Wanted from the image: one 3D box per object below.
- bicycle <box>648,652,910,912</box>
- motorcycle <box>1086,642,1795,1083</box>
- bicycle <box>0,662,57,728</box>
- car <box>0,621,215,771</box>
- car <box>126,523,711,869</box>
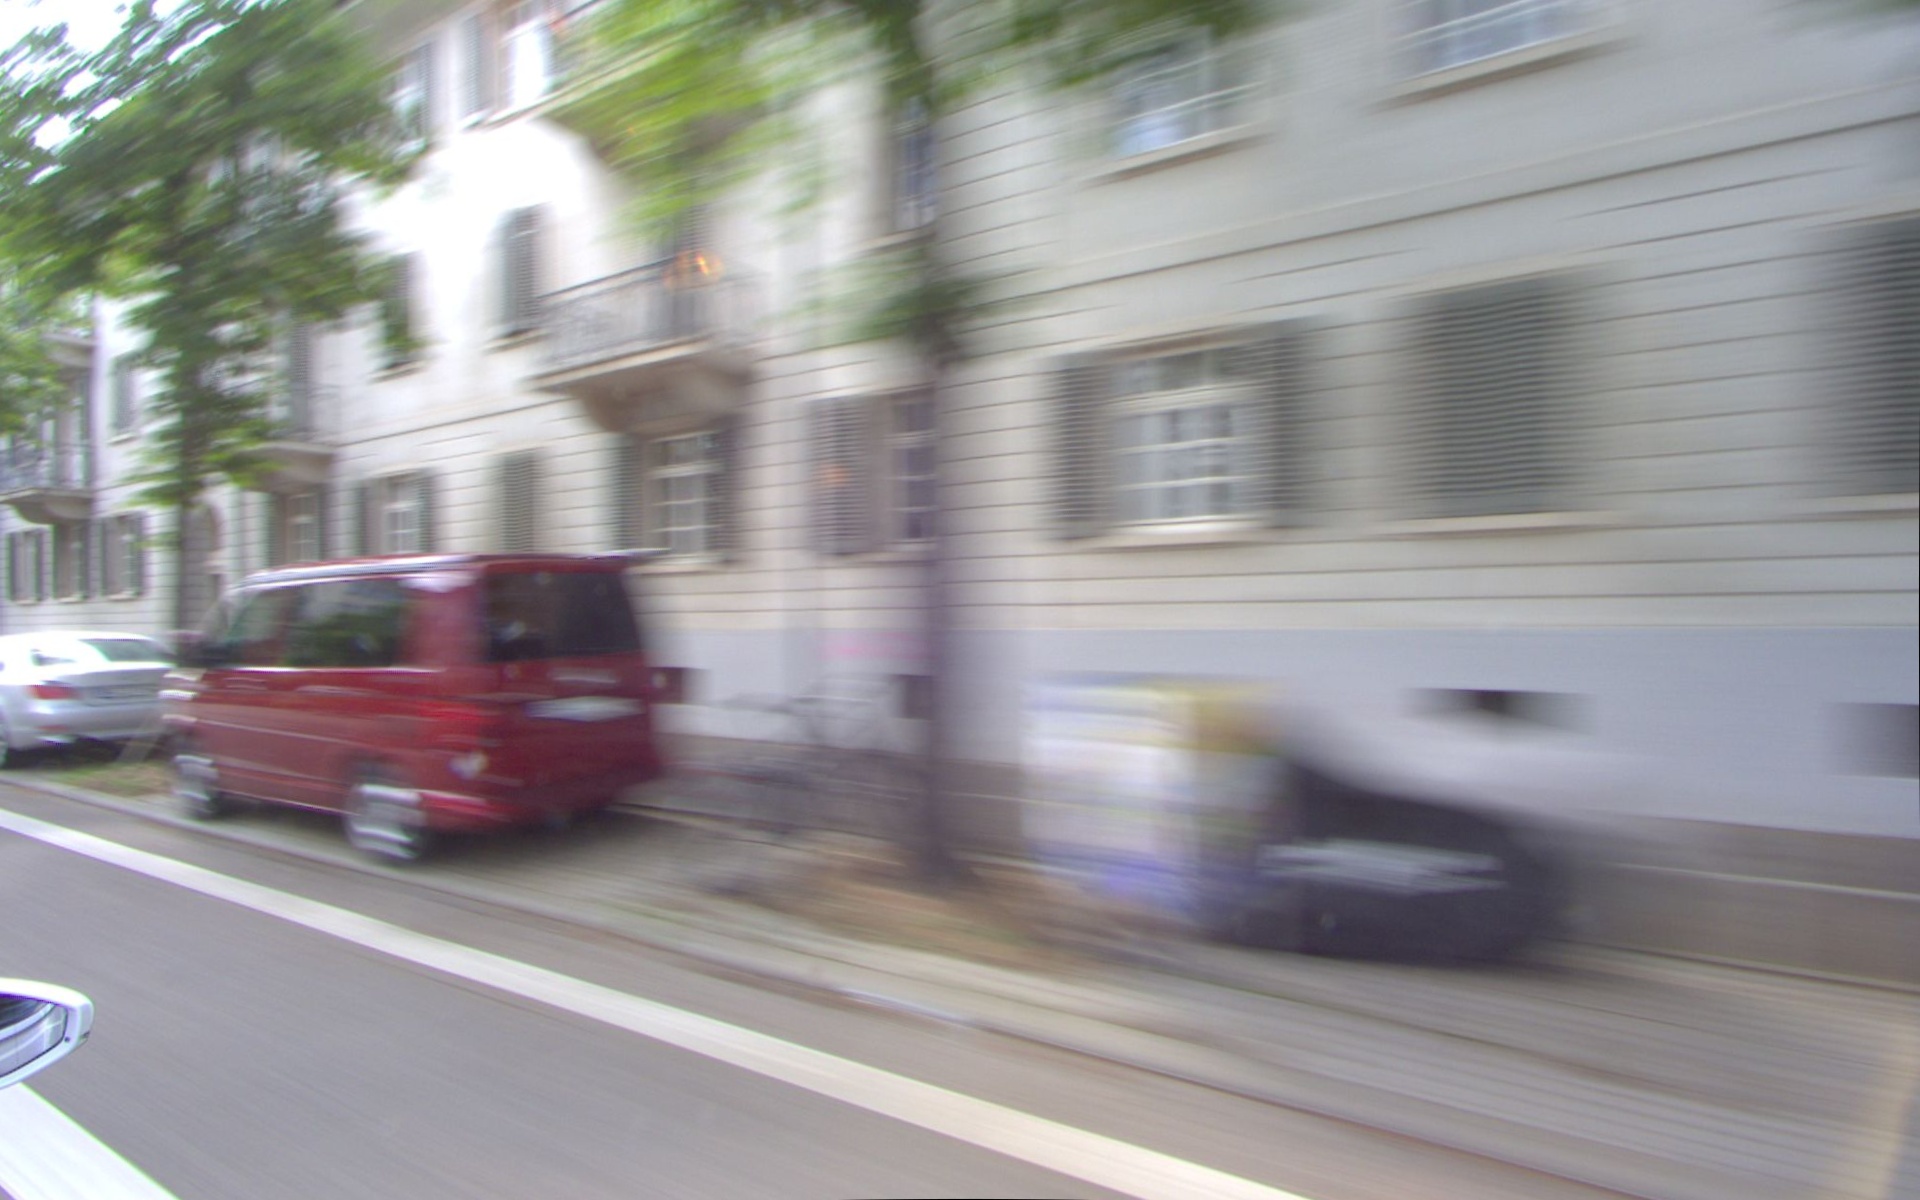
[{"bbox_3d":[-0.960,0.928,5.722,0.581,1.219,1.608,-1,-1,29],"label":"bicycle"},{"bbox_3d":[1.798,0.854,4.124,2.411,1.338,0.855,-1,-1,34],"label":"motorcycle"},{"bbox_3d":[-14.305,1.400,14.465,0.682,0.914,1.771,-1,-1,35],"label":"bicycle"},{"bbox_3d":[-11.135,1.046,12.234,4.721,1.518,1.703,-1,-1,33],"label":"car"},{"bbox_3d":[-4.378,0.601,7.813,4.880,1.966,1.891,-1,-1,33],"label":"car"}]
